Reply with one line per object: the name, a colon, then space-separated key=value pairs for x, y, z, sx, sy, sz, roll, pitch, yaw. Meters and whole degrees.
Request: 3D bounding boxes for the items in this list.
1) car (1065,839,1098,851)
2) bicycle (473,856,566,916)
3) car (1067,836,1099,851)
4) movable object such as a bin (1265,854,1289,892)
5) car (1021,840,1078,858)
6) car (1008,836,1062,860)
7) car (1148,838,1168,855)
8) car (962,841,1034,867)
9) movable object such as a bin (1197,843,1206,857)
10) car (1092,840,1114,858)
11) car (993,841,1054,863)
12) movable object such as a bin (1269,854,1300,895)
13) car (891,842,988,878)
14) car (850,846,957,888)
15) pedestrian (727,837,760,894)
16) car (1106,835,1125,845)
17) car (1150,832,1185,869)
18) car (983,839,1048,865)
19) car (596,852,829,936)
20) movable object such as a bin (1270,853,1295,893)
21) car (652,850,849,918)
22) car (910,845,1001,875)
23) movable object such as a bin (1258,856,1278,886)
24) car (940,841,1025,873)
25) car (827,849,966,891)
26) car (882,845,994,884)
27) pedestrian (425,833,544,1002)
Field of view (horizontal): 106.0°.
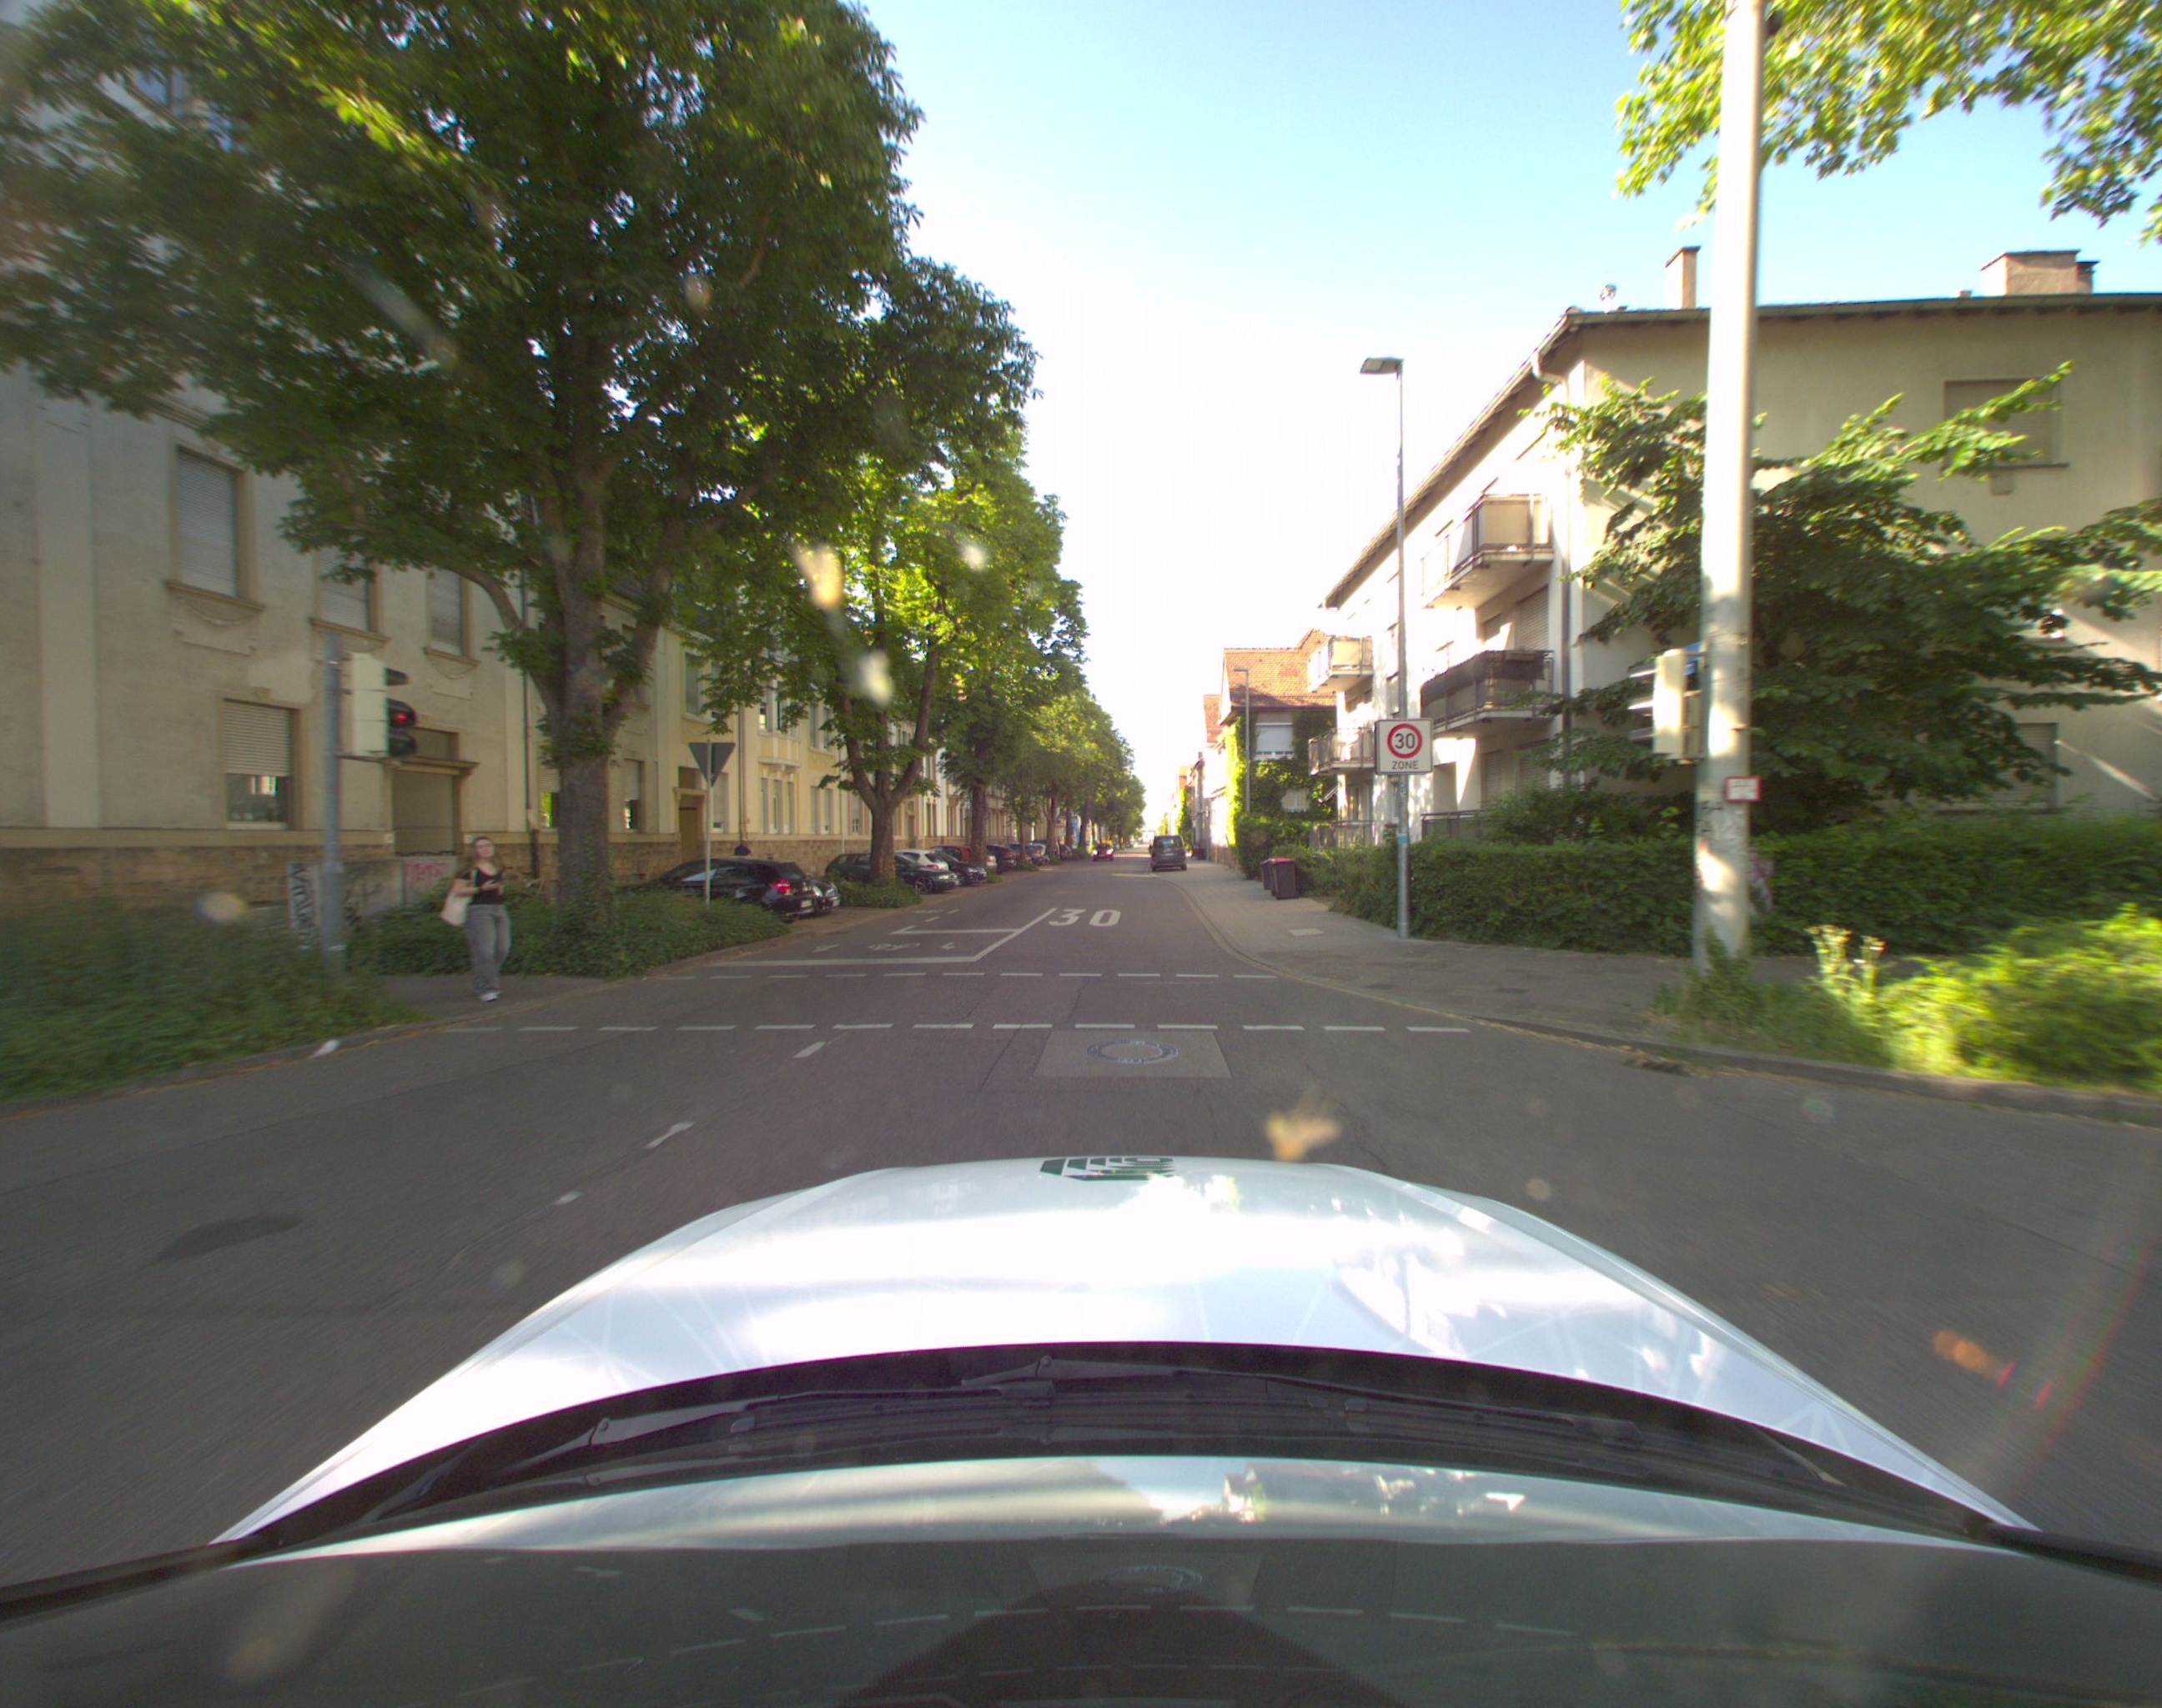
car: x=0.094 y=-1.099 z=99.836 sx=3.973 sy=1.464 sz=1.798 roll=1 pitch=0 yaw=1
bicycle: x=-12.242 y=0.664 z=17.834 sx=0.511 sy=1.154 sz=1.985 roll=1 pitch=2 yaw=5
car: x=0.267 y=-1.285 z=102.702 sx=3.973 sy=1.760 sz=1.798 roll=1 pitch=0 yaw=1
movable object such as a bin: x=5.636 y=0.534 z=23.404 sx=0.481 sy=1.044 sz=0.619 roll=-4 pitch=1 yaw=2
car: x=-2.605 y=-0.417 z=67.882 sx=4.512 sy=1.503 sz=1.894 roll=0 pitch=1 yaw=3
car: x=-3.568 y=-0.462 z=63.126 sx=3.962 sy=1.855 sz=1.831 roll=0 pitch=1 yaw=3
car: x=7.561 y=-0.790 z=80.343 sx=1.692 sy=1.539 sz=4.159 roll=-3 pitch=1 yaw=3
car: x=-4.844 y=-0.002 z=48.071 sx=3.968 sy=1.514 sz=1.750 roll=0 pitch=0 yaw=4
movable object such as a bin: x=9.769 y=-0.327 z=66.049 sx=0.645 sy=1.039 sz=0.829 roll=-2 pitch=1 yaw=2
car: x=1.902 y=-0.446 z=69.880 sx=1.633 sy=1.508 sz=3.707 roll=-2 pitch=1 yaw=4
car: x=-3.939 y=-0.166 z=56.107 sx=3.879 sy=1.446 sz=1.864 roll=0 pitch=1 yaw=9
movable object such as a bin: x=5.452 y=0.541 z=21.825 sx=0.594 sy=1.044 sz=0.708 roll=-4 pitch=1 yaw=2
car: x=-6.405 y=0.247 z=37.079 sx=3.967 sy=1.507 sz=1.725 roll=-2 pitch=1 yaw=6
car: x=-6.422 y=0.456 z=29.609 sx=3.415 sy=1.452 sz=1.706 roll=0 pitch=0 yaw=7
pedestrian: x=-10.070 y=0.324 z=24.298 sx=0.456 sy=1.658 sz=0.898 roll=-1 pitch=1 yaw=13
car: x=7.345 y=-3.019 z=173.693 sx=3.985 sy=1.840 sz=2.004 roll=2 pitch=2 yaw=7
car: x=4.800 y=-0.246 z=45.526 sx=1.856 sy=1.916 sz=4.790 roll=-1 pitch=1 yaw=5
car: x=-4.261 y=-0.144 z=53.453 sx=3.969 sy=1.592 sz=1.861 roll=0 pitch=1 yaw=4
car: x=-7.273 y=0.767 z=16.280 sx=3.864 sy=1.475 sz=1.617 roll=-2 pitch=0 yaw=4
movable object such as a bin: x=5.598 y=0.518 z=22.681 sx=0.481 sy=1.044 sz=0.657 roll=-4 pitch=1 yaw=2
car: x=-7.548 y=0.659 z=18.864 sx=3.871 sy=1.415 sz=1.614 roll=-1 pitch=1 yaw=-2
car: x=-6.026 y=0.267 z=39.418 sx=3.967 sy=1.403 sz=1.833 roll=1 pitch=1 yaw=6
movable object such as a bin: x=6.100 y=0.539 z=26.567 sx=0.500 sy=0.915 sz=0.574 roll=-4 pitch=1 yaw=7
car: x=-5.000 y=0.141 z=41.636 sx=3.967 sy=1.566 sz=1.867 roll=0 pitch=1 yaw=6
car: x=-6.094 y=0.510 z=27.198 sx=4.192 sy=1.349 sz=1.705 roll=0 pitch=0 yaw=4
car: x=-5.546 y=0.380 z=31.867 sx=3.967 sy=1.482 sz=1.788 roll=0 pitch=1 yaw=6
pedestrian: x=-6.209 y=0.631 z=8.500 sx=0.688 sy=1.681 sz=0.683 roll=-1 pitch=1 yaw=15
